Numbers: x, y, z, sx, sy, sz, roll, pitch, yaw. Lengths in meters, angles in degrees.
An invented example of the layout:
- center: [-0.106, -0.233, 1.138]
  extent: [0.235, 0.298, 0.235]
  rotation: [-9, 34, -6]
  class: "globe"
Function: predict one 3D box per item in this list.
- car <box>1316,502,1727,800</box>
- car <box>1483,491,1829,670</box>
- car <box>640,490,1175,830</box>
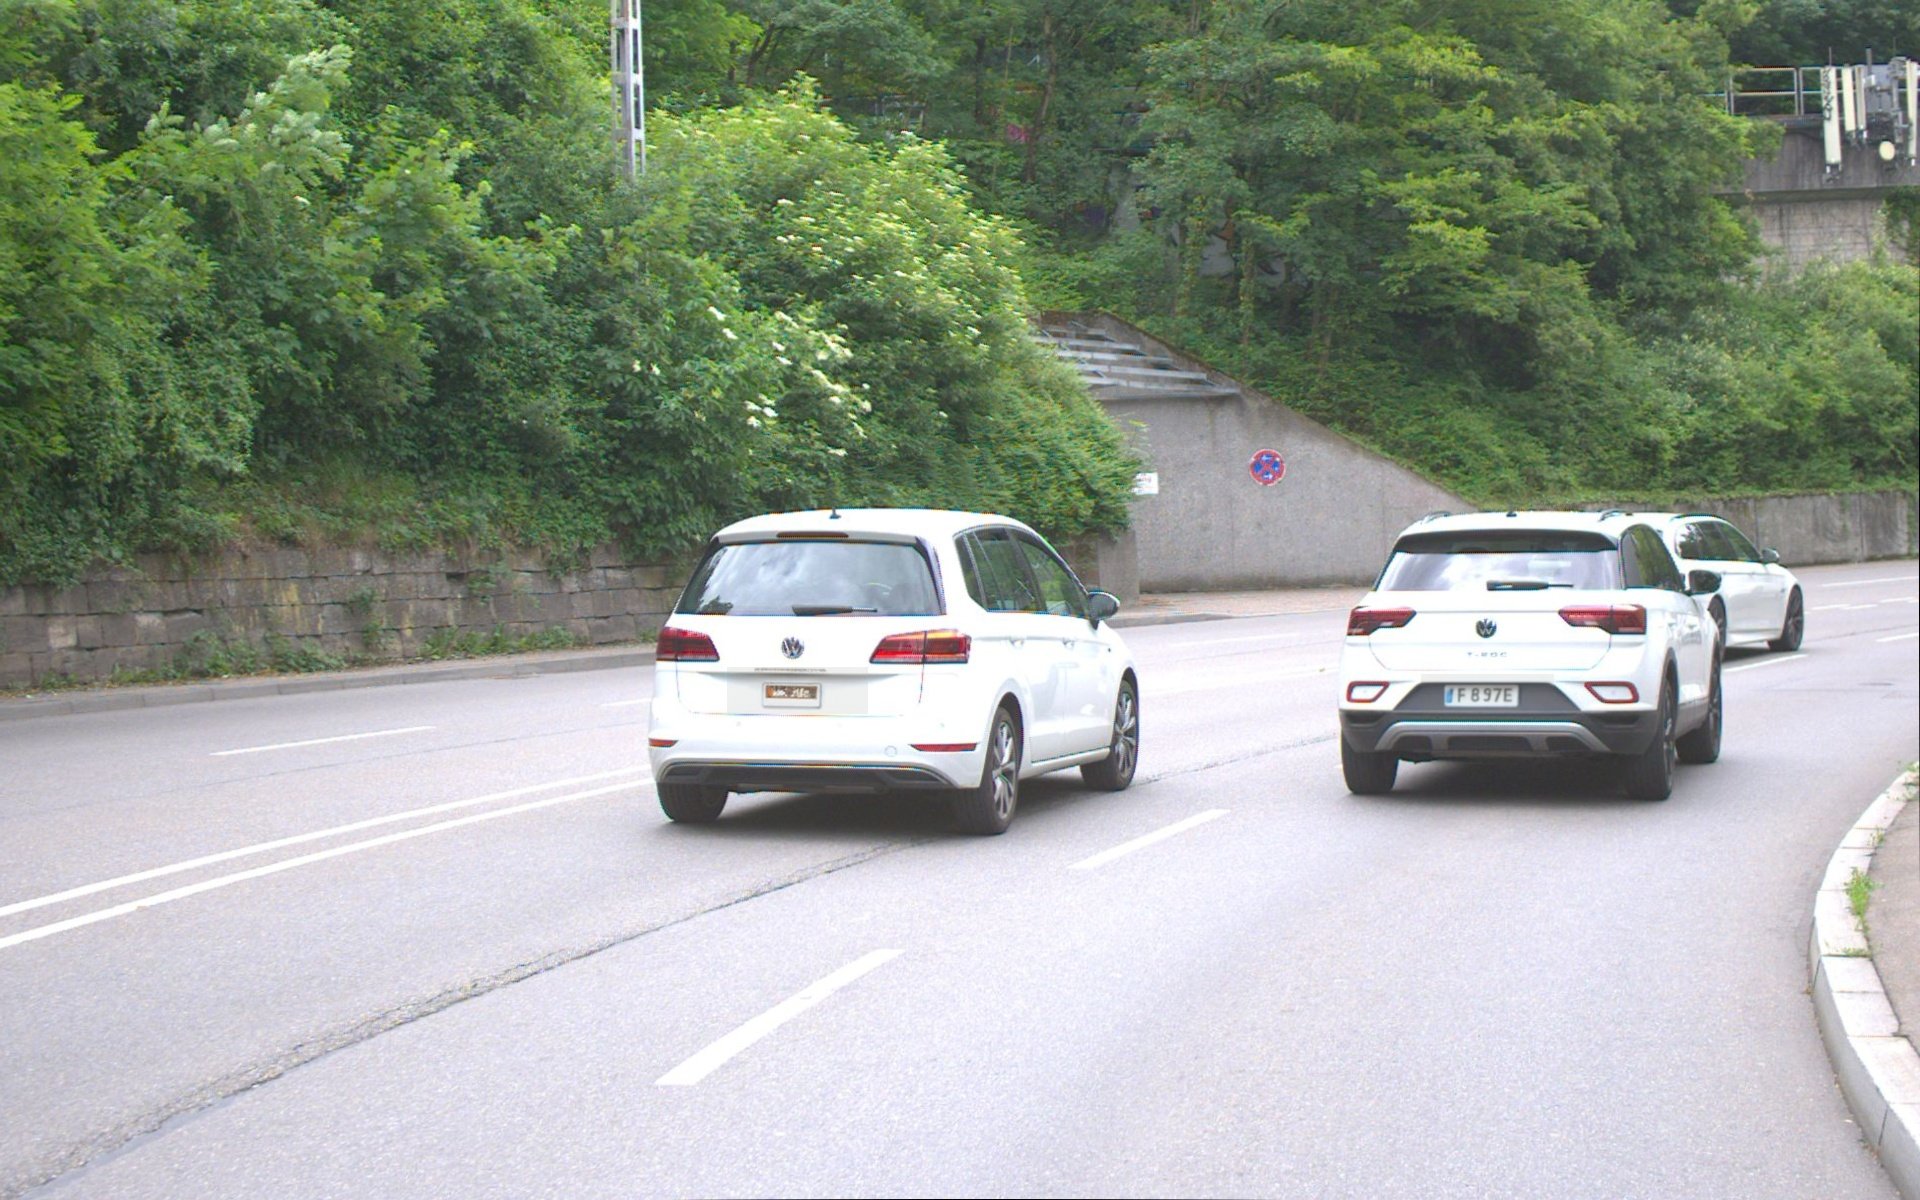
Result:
- center: [3.343, 0.263, 19.860]
  extent: [1.815, 1.534, 4.005]
  rotation: [0, 0, 17]
  class: "car"
- center: [7.010, -0.234, 34.236]
  extent: [1.997, 1.552, 4.674]
  rotation: [-1, 2, 29]
  class: "car"
- center: [-0.135, 0.261, 18.096]
  extent: [1.721, 1.549, 4.272]
  rotation: [1, 0, 15]
  class: "car"
